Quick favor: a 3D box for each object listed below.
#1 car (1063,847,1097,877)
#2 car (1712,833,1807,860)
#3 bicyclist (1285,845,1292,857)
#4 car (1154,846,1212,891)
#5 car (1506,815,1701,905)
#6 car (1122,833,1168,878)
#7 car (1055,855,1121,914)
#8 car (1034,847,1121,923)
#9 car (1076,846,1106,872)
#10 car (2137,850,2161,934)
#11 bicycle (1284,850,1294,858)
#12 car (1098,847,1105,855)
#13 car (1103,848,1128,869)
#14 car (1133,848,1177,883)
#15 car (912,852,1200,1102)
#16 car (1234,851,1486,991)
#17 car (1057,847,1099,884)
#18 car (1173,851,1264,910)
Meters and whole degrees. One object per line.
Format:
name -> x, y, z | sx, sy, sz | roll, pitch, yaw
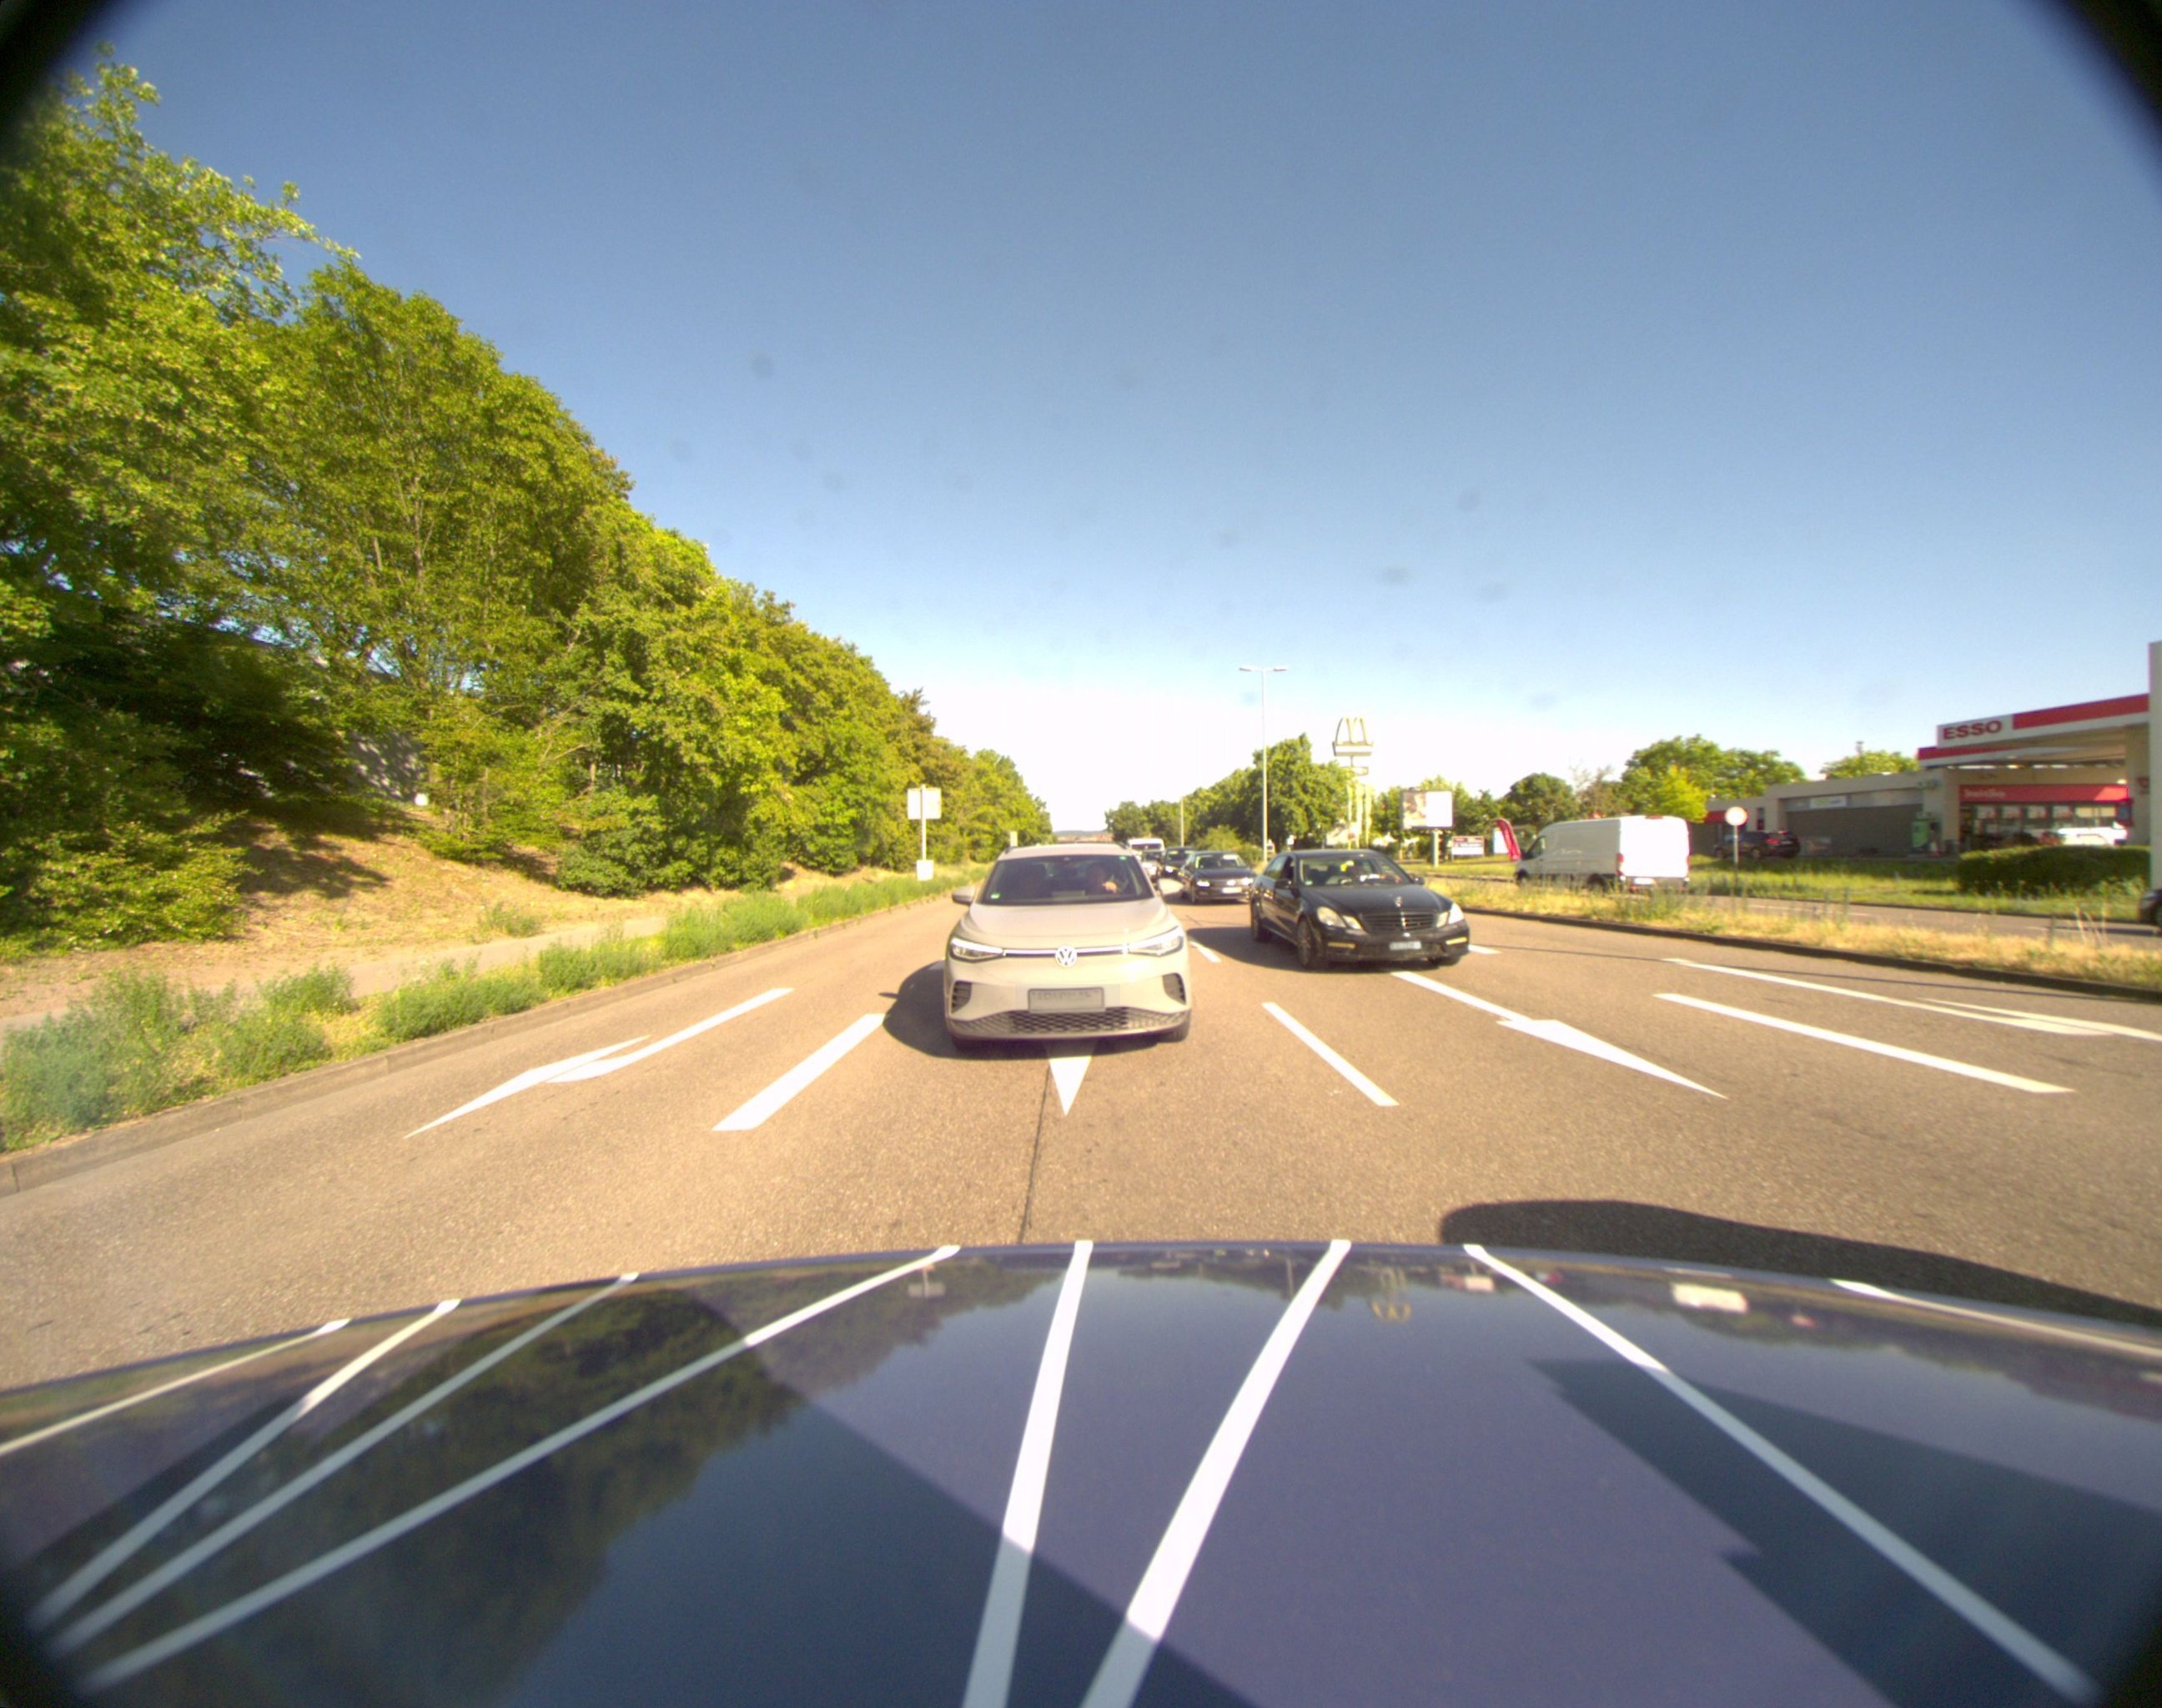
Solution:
car -> -0.068, 0.379, 42.184 | 1.763, 1.482, 4.402 | -2, 1, 0
car -> 37.547, -0.440, 42.177 | 1.682, 1.401, 3.977 | 1, 1, 0
bicyclist -> 24.253, -0.359, 88.655 | 0.629, 1.281, 0.700 | -2, 2, 1
car -> 3.948, 0.513, 29.862 | 1.674, 1.608, 3.878 | -2, 1, 0
car -> 16.223, 0.122, 24.130 | 2.027, 2.433, 5.820 | 2, 1, 0
car -> 3.653, 0.033, 44.369 | 2.019, 2.349, 6.523 | -2, 1, 0
car -> 0.191, 0.850, 23.261 | 1.763, 1.482, 4.402 | -2, 1, 0
car -> -0.082, 0.624, 18.091 | 1.763, 1.482, 4.402 | -2, 1, 0
car -> 0.612, 0.301, 49.351 | 1.763, 1.482, 4.402 | -2, 1, 0
car -> 19.838, 0.729, 11.375 | 1.763, 1.482, 4.477 | 2, 1, 1
bicycle -> 24.253, -0.001, 88.611 | 0.629, 0.863, 1.741 | -2, 1, 1
car -> 5.549, -0.927, 206.172 | 1.998, 2.002, 3.999 | -2, 1, 1
car -> 2.888, 0.314, 64.445 | 1.763, 1.607, 4.402 | -2, 1, 0
car -> 3.503, 0.501, 36.505 | 1.635, 1.547, 3.776 | -2, 1, 0
car -> -0.175, 0.820, 7.281 | 1.862, 1.574, 4.402 | -2, 1, 0
car -> 3.558, 0.733, 10.661 | 1.868, 1.430, 4.402 | -2, 1, 0
car -> -0.147, 0.494, 35.139 | 1.763, 1.482, 4.402 | -2, 1, 0
car -> 3.831, 0.682, 21.878 | 1.797, 1.419, 4.286 | -2, 1, 0
